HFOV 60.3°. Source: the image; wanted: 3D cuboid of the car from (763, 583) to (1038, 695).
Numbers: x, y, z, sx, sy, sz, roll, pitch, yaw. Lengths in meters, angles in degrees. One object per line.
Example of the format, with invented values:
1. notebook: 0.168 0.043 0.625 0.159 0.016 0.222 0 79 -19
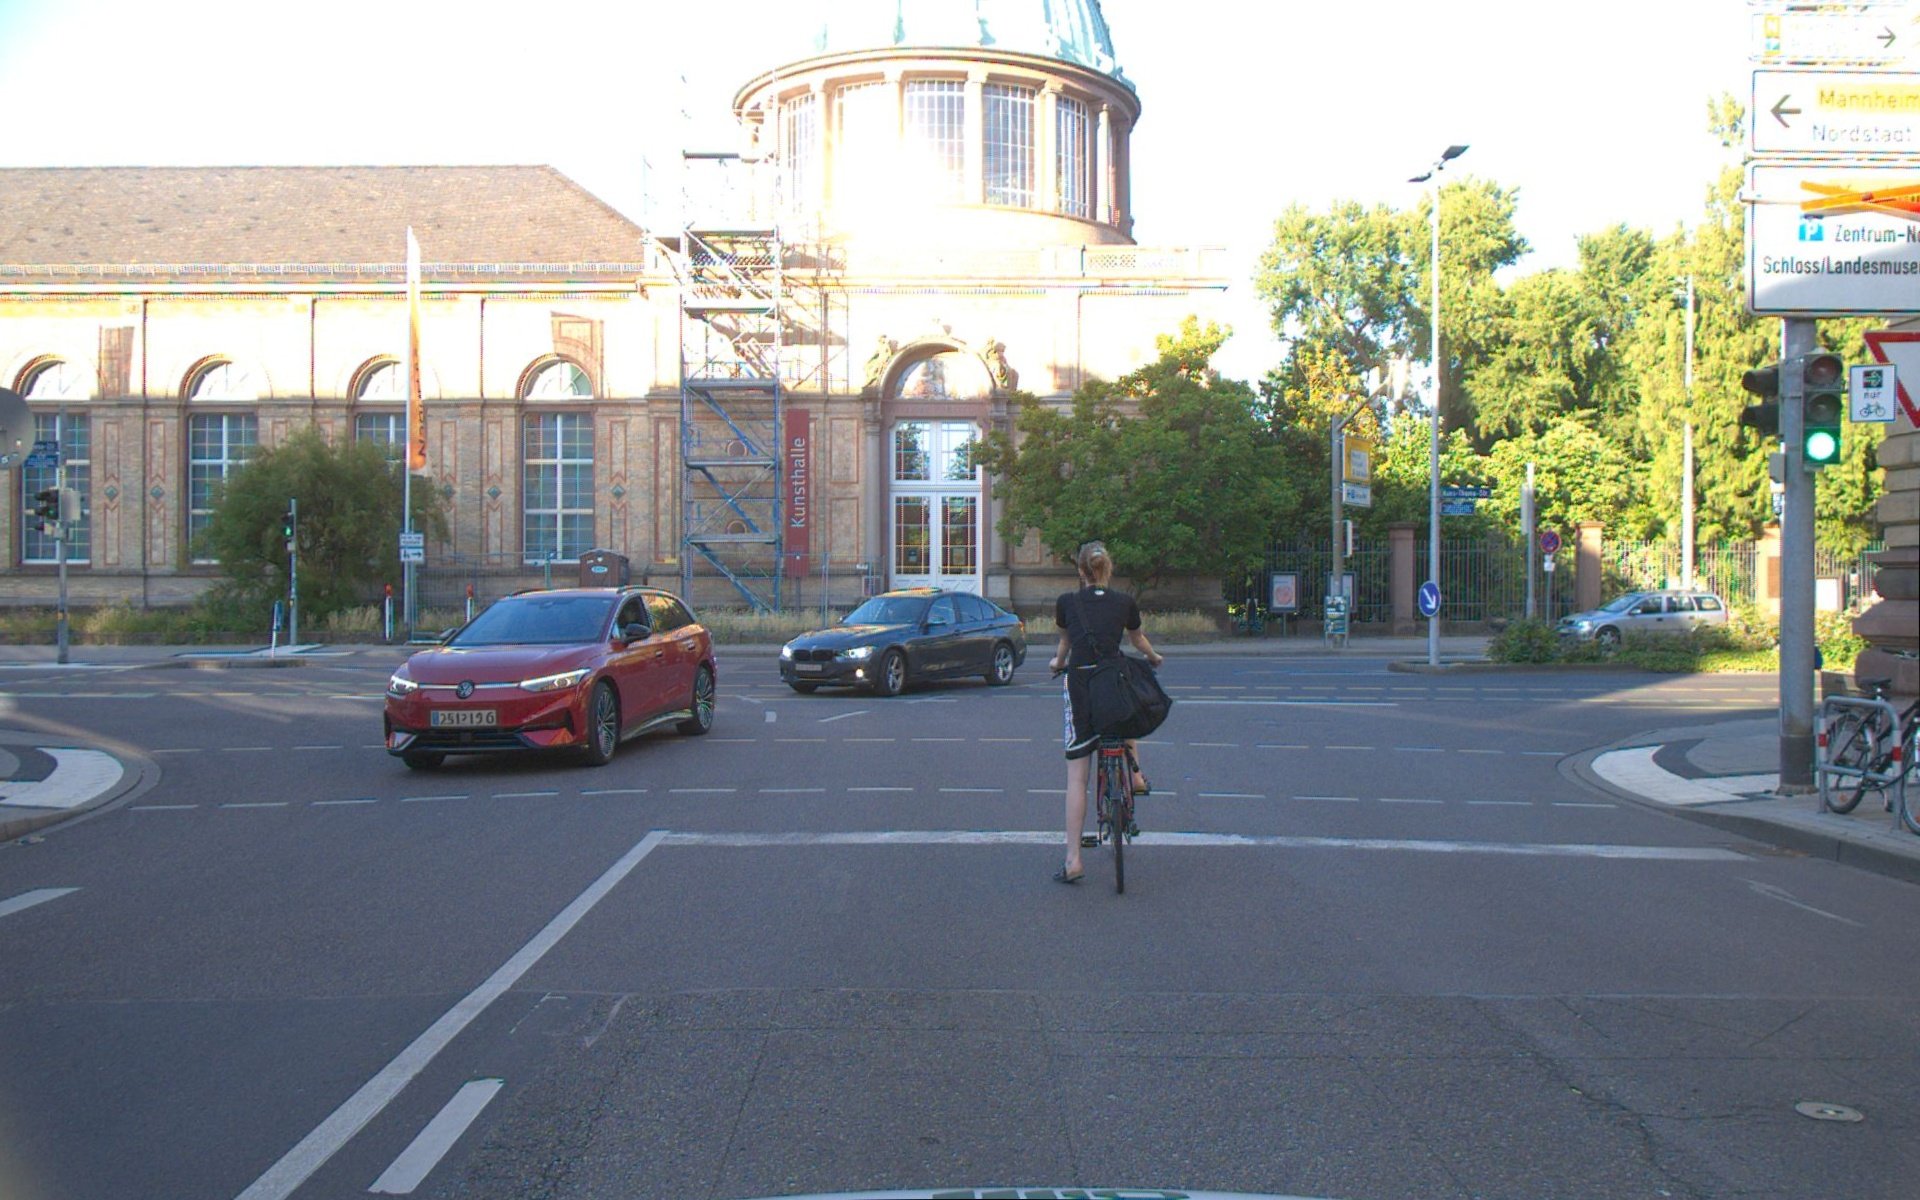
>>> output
1. car: -0.777 0.511 24.464 1.752 1.484 4.407 -1 0 35

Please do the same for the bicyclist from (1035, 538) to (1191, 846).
1. bicyclist: 0.822 0.467 8.715 0.701 1.529 0.851 -1 -1 13

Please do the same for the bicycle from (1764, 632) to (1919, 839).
1. bicycle: 5.897 0.812 10.539 0.570 1.209 1.920 0 -1 -1

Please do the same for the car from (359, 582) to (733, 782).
1. car: -3.719 0.652 15.892 1.792 1.572 4.852 -1 1 7

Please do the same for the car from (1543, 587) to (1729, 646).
1. car: 17.275 0.405 42.337 4.104 1.470 1.713 0 0 -6

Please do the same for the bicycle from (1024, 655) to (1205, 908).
1. bicycle: 0.890 0.901 8.982 0.696 1.176 2.070 -1 -1 13
